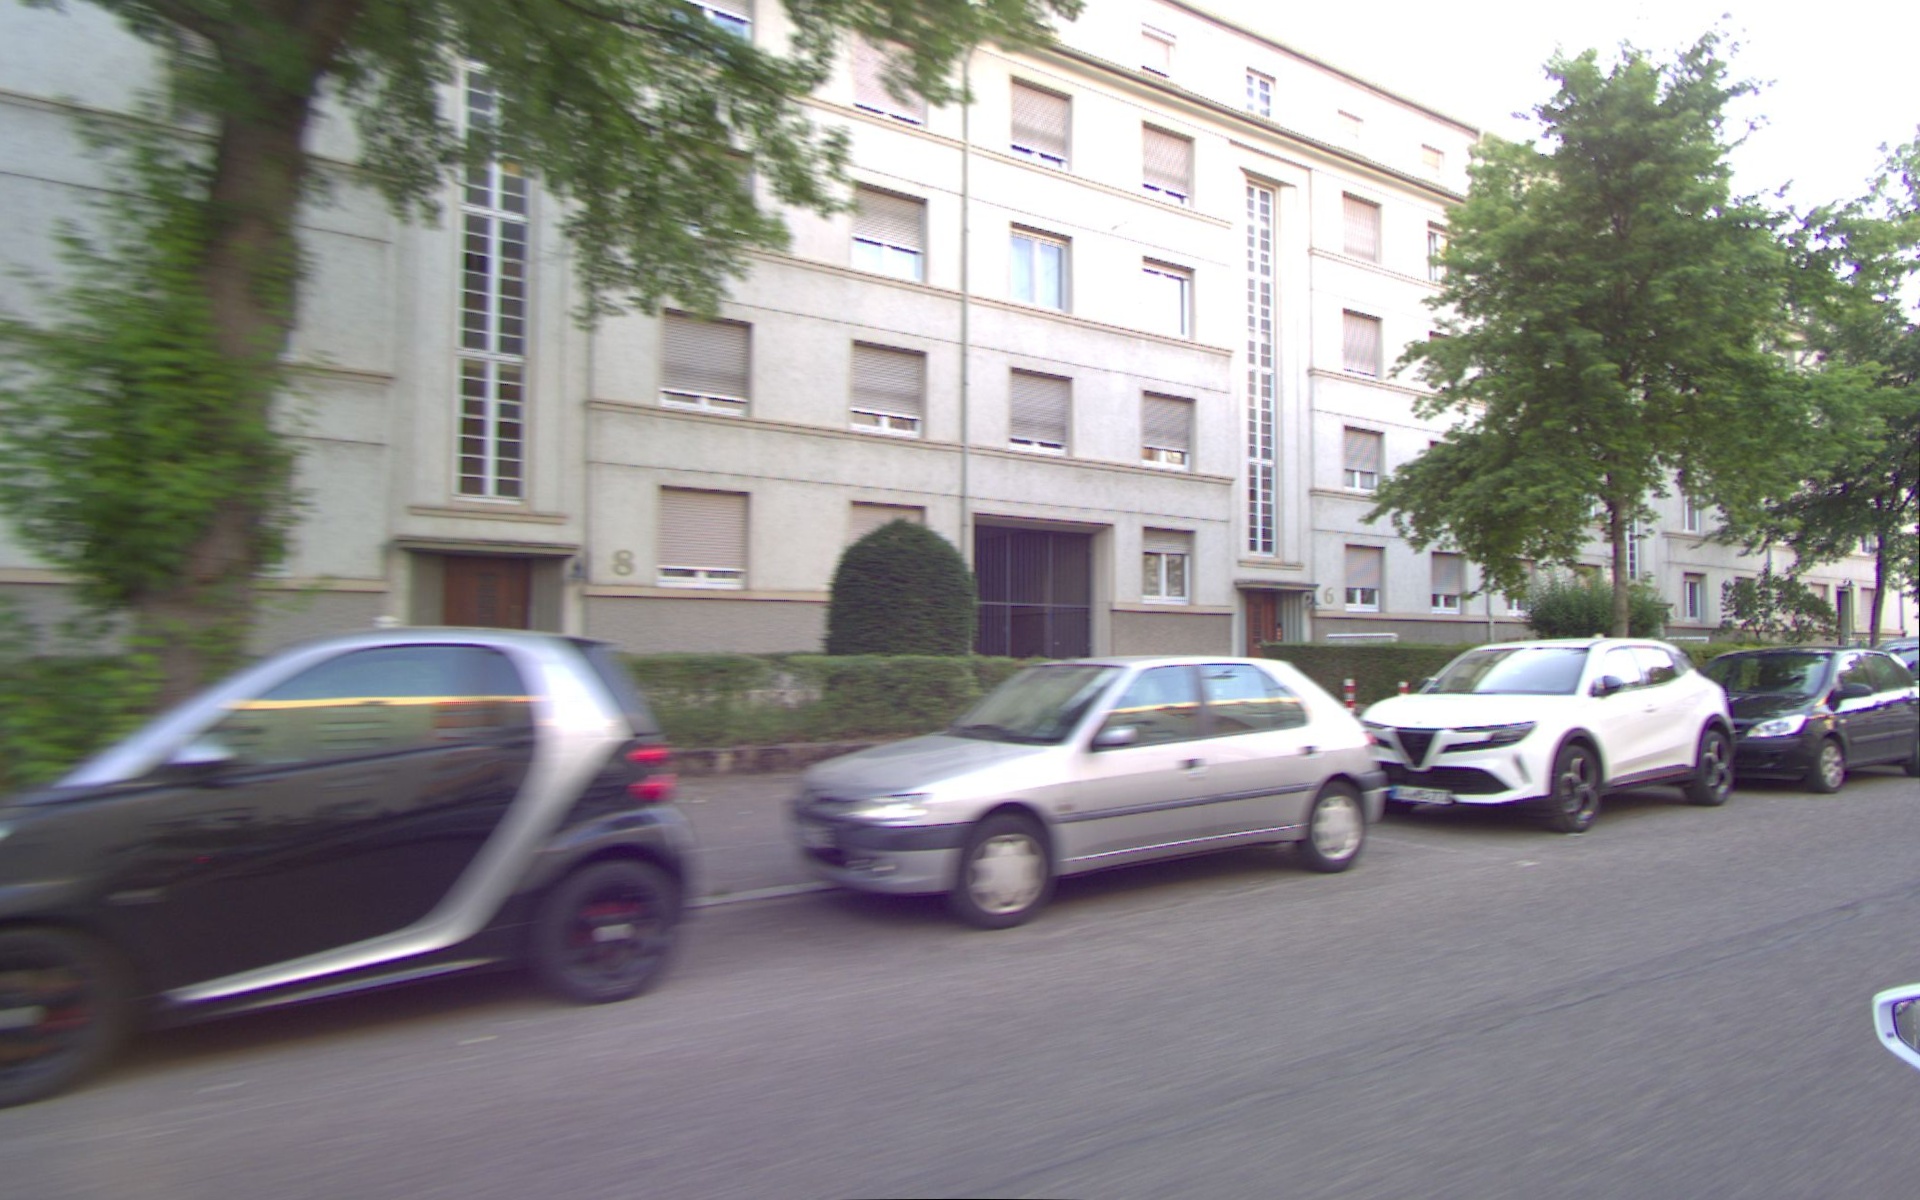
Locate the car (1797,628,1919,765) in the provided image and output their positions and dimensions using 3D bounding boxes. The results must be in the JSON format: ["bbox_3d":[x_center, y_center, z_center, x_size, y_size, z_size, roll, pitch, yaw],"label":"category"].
[{"bbox_3d":[13.062,1.231,13.282,4.068,1.621,1.700,2,-6,-30],"label":"car"}]

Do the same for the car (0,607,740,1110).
[{"bbox_3d":[-2.677,0.886,4.216,3.129,1.548,1.516,2,-6,-32],"label":"car"}]

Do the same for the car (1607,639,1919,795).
[{"bbox_3d":[9.207,1.231,11.235,3.797,1.470,1.700,2,-6,-30],"label":"car"}]

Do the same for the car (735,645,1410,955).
[{"bbox_3d":[0.817,1.043,6.397,4.132,1.422,1.584,2,-6,-30],"label":"car"}]

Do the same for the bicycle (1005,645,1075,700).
[{"bbox_3d":[1.805,1.634,22.956,0.620,1.187,1.919,1,-2,-29],"label":"bicycle"}]

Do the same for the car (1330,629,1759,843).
[{"bbox_3d":[5.404,1.118,9.143,4.161,1.558,1.582,2,-6,-32],"label":"car"}]

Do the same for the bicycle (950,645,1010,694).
[{"bbox_3d":[0.489,1.725,25.342,0.620,1.187,1.919,1,-2,-29],"label":"bicycle"}]
